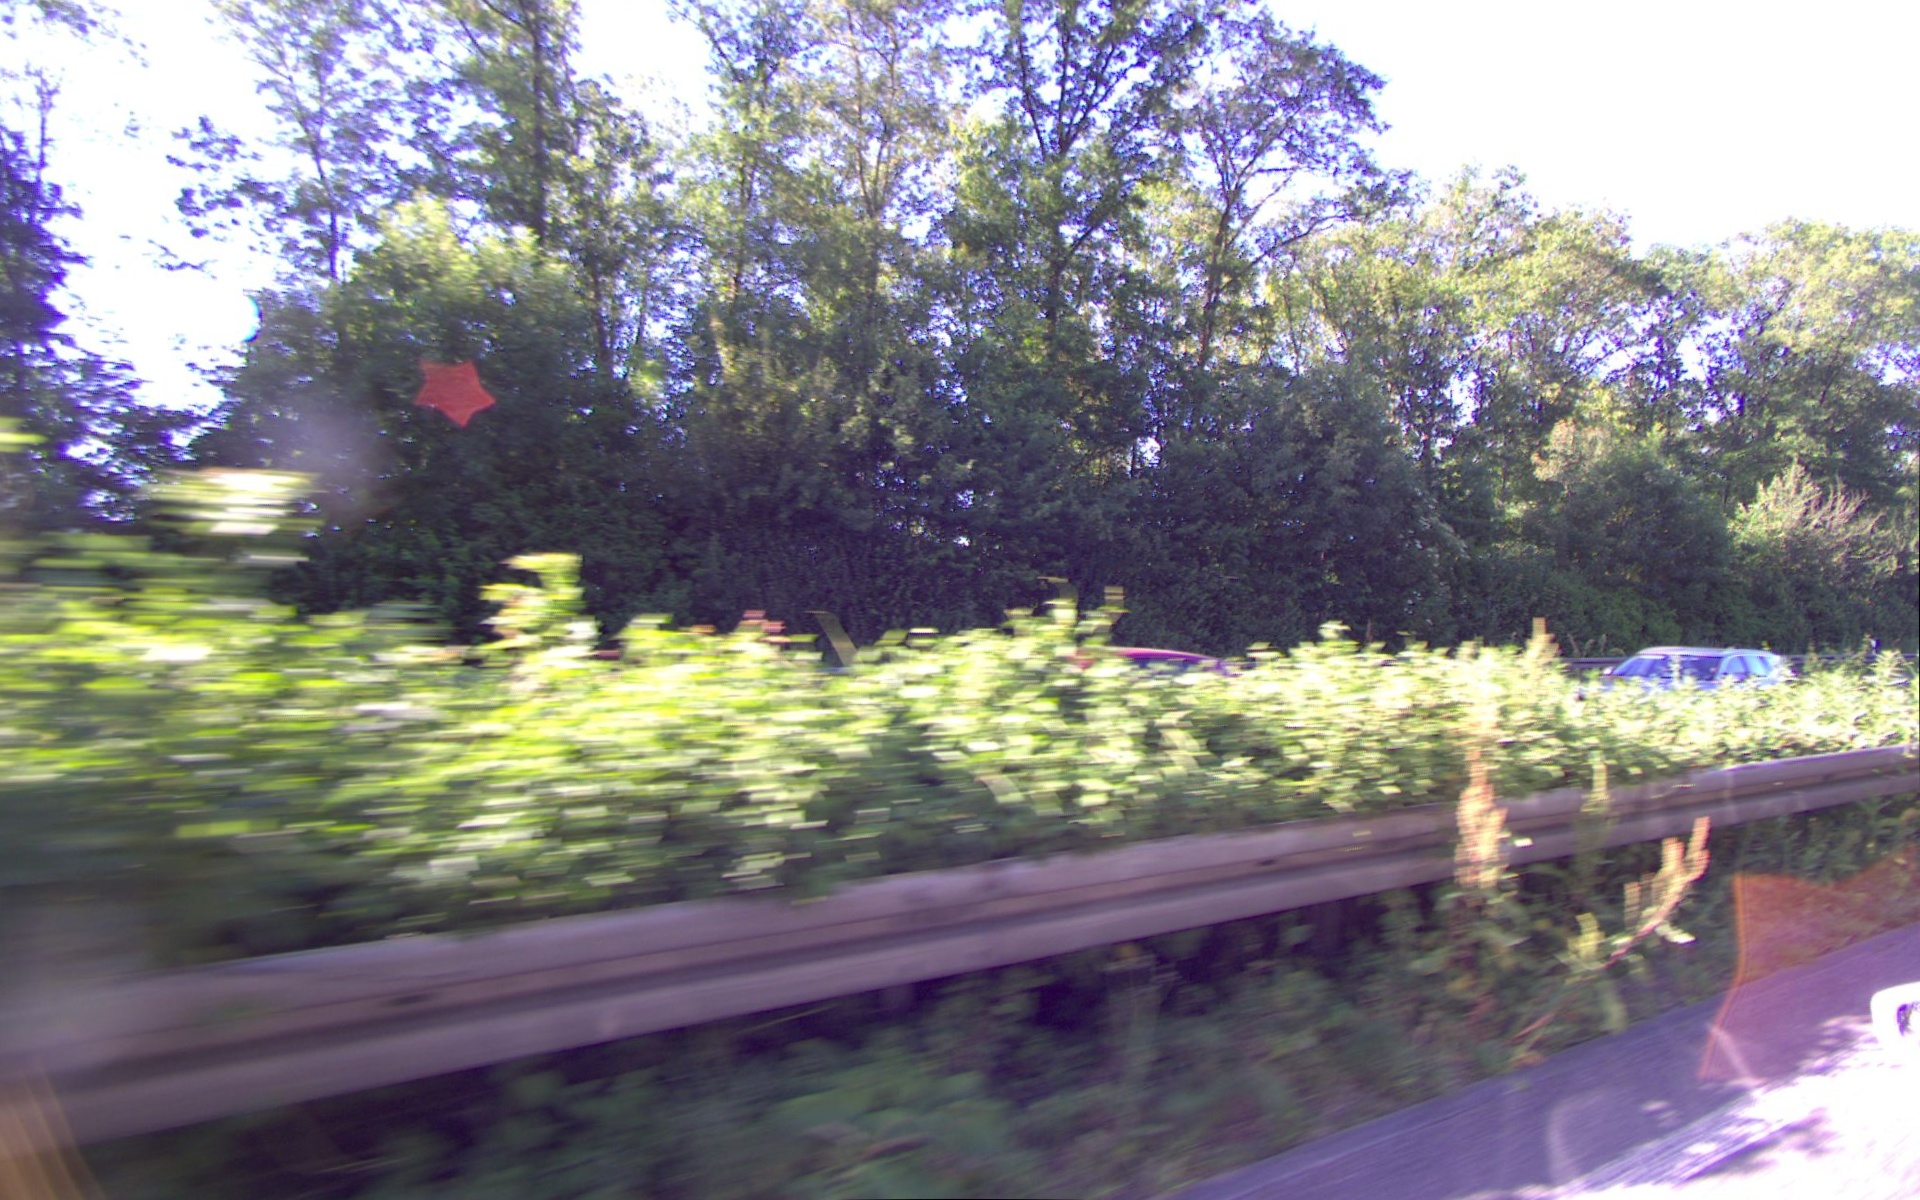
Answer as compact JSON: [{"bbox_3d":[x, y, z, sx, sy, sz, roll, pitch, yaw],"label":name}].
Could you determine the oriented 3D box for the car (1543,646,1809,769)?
[{"bbox_3d":[11.366,1.596,15.869,4.532,1.626,1.704,2,0,-30],"label":"car"}]

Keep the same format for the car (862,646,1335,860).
[{"bbox_3d":[1.465,1.321,9.934,4.529,1.624,1.724,2,0,-30],"label":"car"}]
